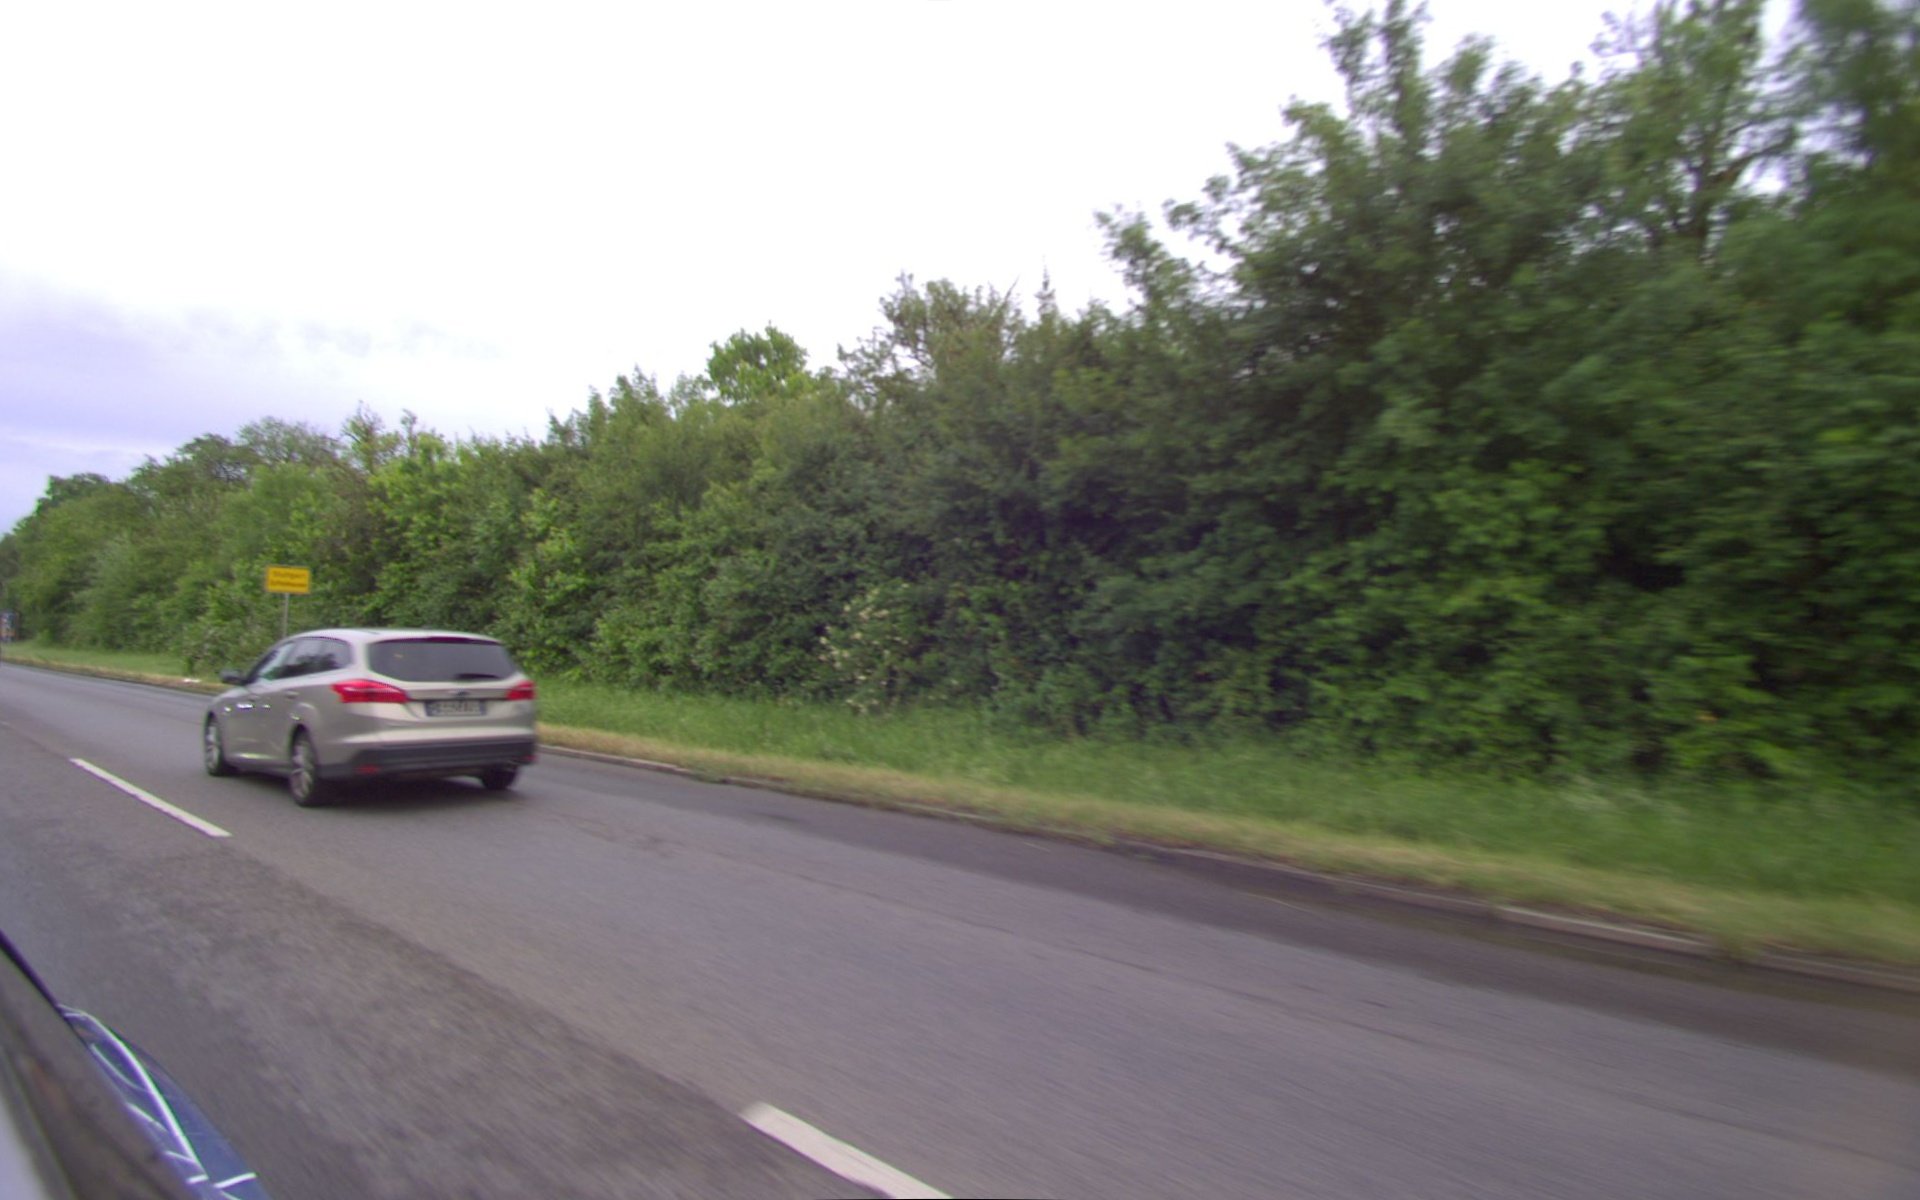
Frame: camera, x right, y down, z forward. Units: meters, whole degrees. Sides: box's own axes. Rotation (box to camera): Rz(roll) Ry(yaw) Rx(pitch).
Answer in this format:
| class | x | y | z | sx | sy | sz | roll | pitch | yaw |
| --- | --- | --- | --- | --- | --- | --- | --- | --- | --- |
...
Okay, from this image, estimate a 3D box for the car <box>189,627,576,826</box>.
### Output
| class | x | y | z | sx | sy | sz | roll | pitch | yaw |
| --- | --- | --- | --- | --- | --- | --- | --- | --- | --- |
| car | -5.521 | 1.010 | 9.438 | 4.317 | 1.431 | 1.806 | -2 | -4 | 41 |
